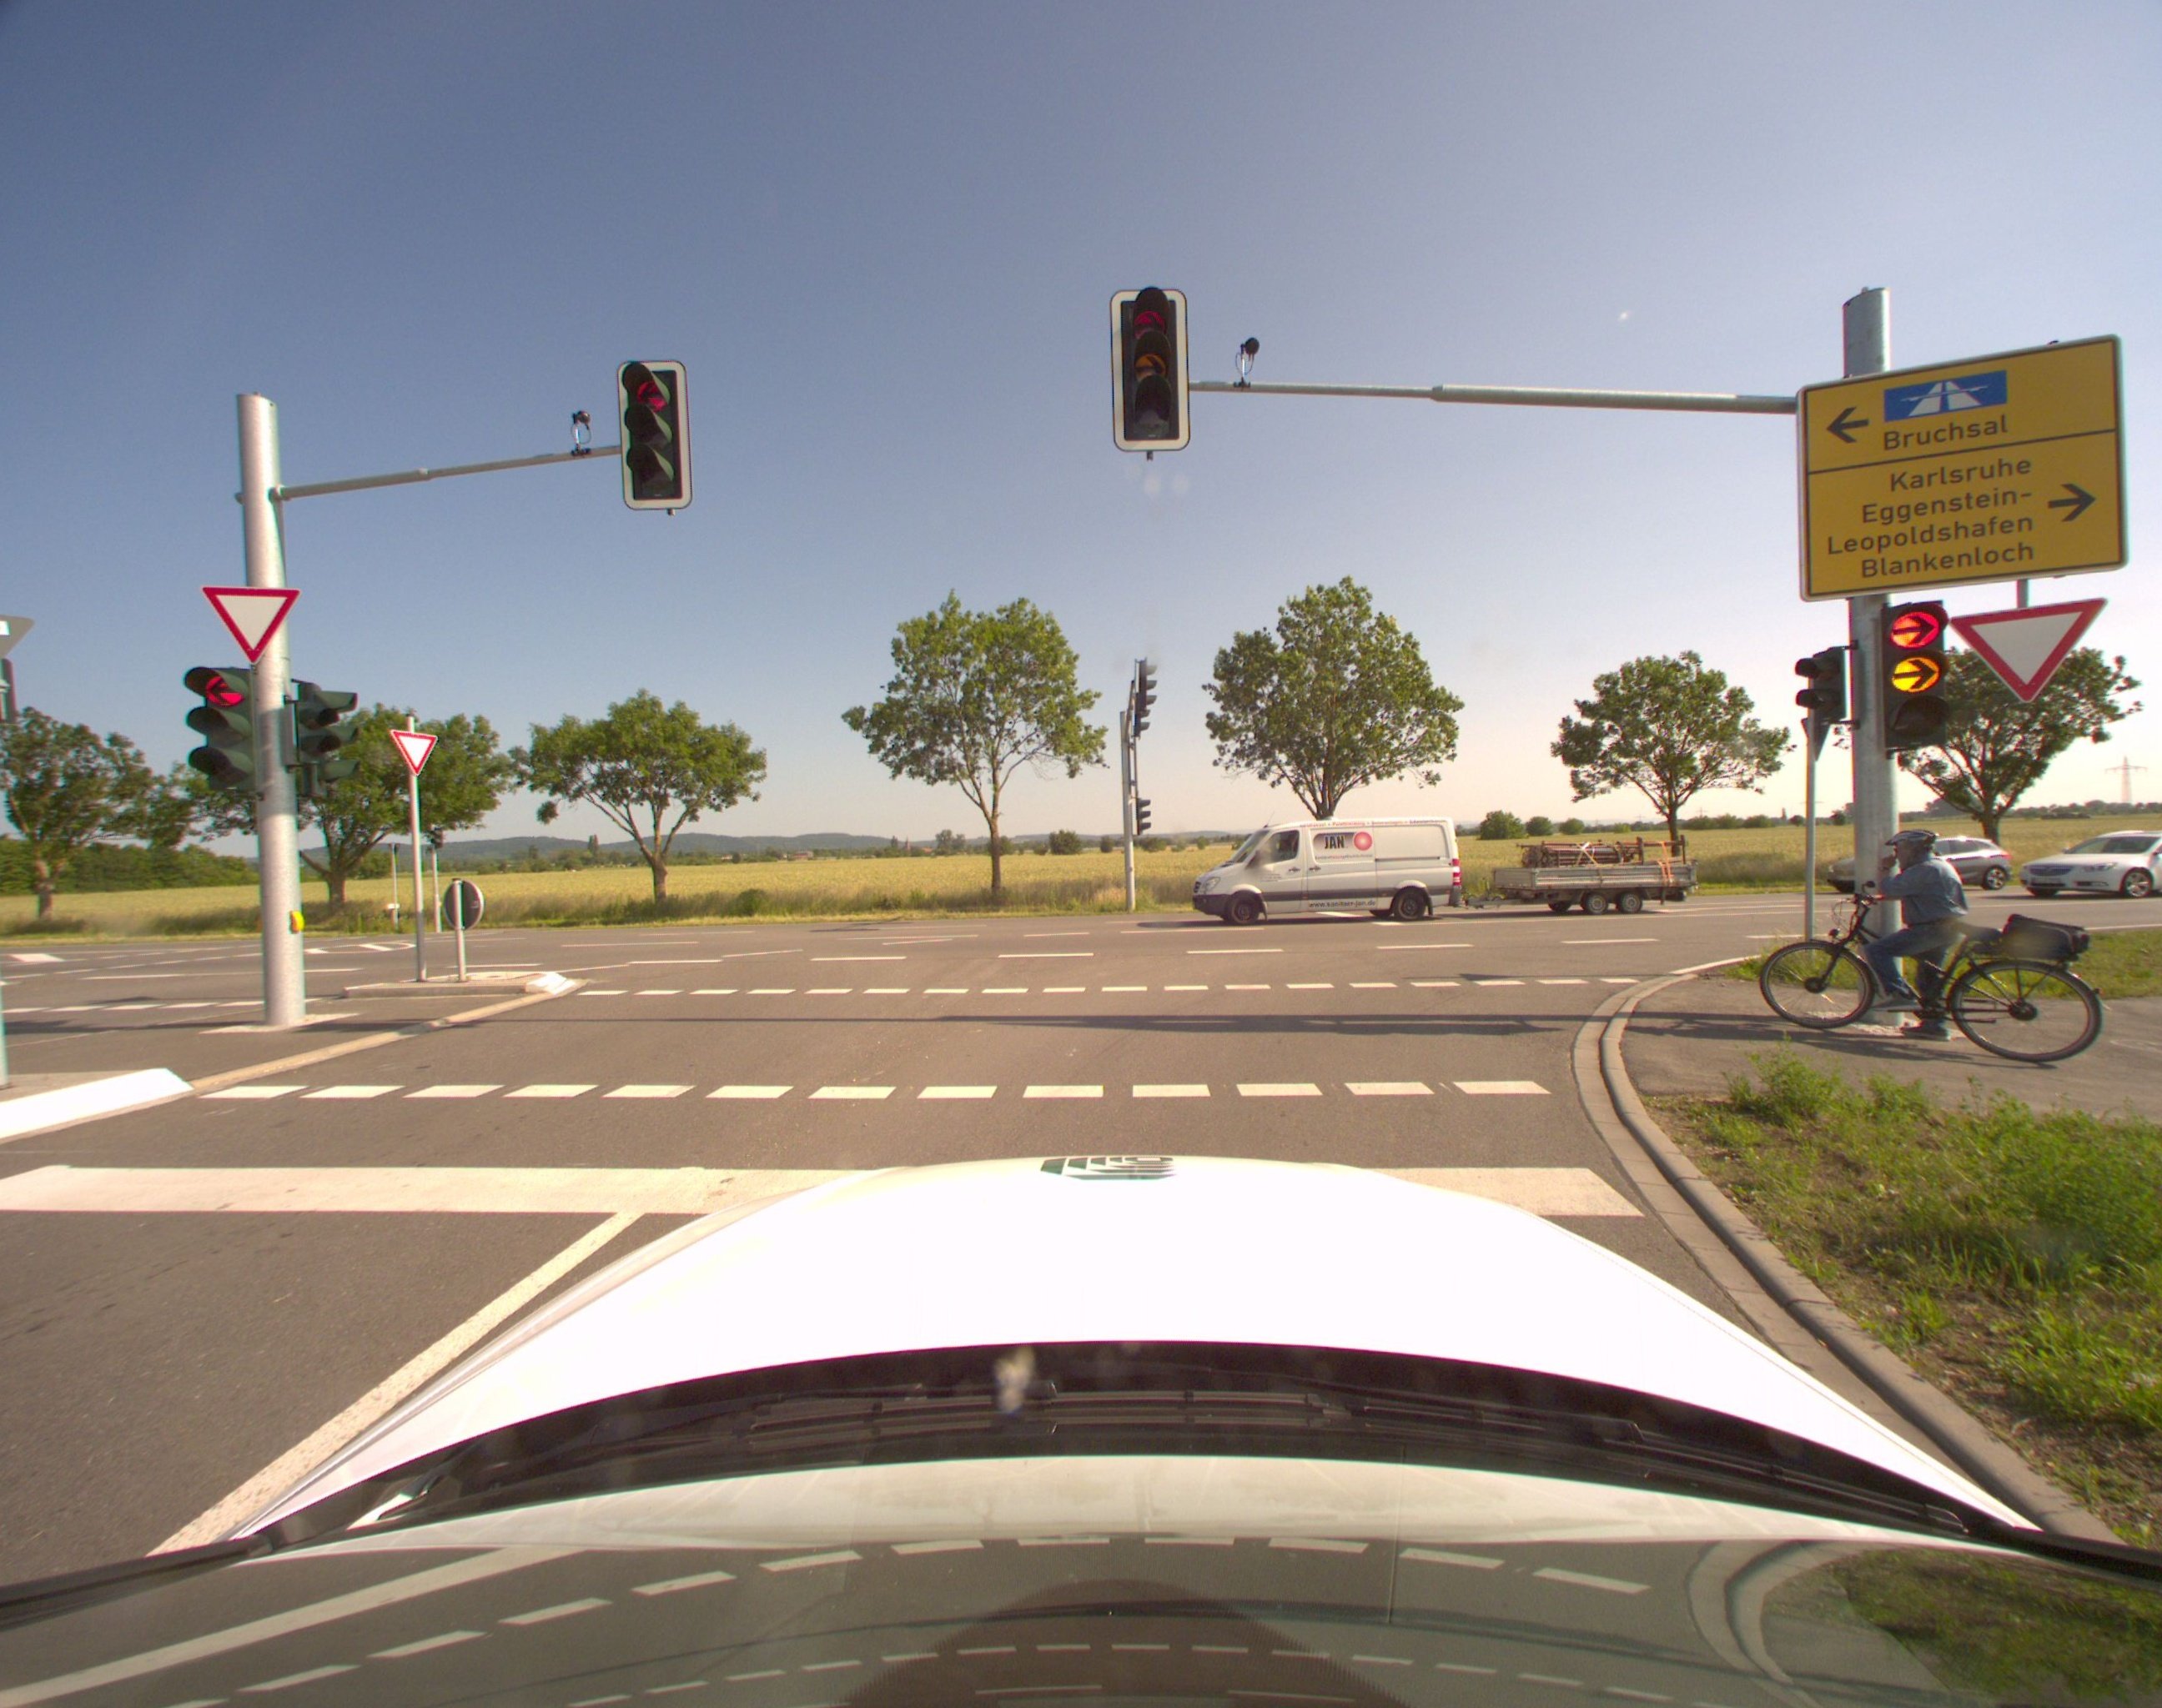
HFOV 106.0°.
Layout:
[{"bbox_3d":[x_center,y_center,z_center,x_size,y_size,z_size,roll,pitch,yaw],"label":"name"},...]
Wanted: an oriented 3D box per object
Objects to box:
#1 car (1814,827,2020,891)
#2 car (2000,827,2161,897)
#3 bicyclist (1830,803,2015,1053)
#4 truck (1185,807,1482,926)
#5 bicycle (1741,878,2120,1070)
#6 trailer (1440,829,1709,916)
[{"bbox_3d":[23.906,0.173,23.392,3.976,1.625,1.889,-2,-2,-2],"label":"car"},{"bbox_3d":[24.705,0.147,19.002,4.682,1.492,1.763,-2,-1,-3],"label":"car"},{"bbox_3d":[6.454,0.511,6.284,0.623,1.765,0.906,0,1,-44],"label":"bicyclist"},{"bbox_3d":[5.608,0.291,18.761,6.156,2.405,2.072,-2,-1,1],"label":"truck"},{"bbox_3d":[6.411,0.820,6.305,0.685,1.151,1.922,0,2,-44],"label":"bicycle"},{"bbox_3d":[11.199,0.423,18.762,4.978,1.738,1.981,-2,-1,0],"label":"trailer"}]
